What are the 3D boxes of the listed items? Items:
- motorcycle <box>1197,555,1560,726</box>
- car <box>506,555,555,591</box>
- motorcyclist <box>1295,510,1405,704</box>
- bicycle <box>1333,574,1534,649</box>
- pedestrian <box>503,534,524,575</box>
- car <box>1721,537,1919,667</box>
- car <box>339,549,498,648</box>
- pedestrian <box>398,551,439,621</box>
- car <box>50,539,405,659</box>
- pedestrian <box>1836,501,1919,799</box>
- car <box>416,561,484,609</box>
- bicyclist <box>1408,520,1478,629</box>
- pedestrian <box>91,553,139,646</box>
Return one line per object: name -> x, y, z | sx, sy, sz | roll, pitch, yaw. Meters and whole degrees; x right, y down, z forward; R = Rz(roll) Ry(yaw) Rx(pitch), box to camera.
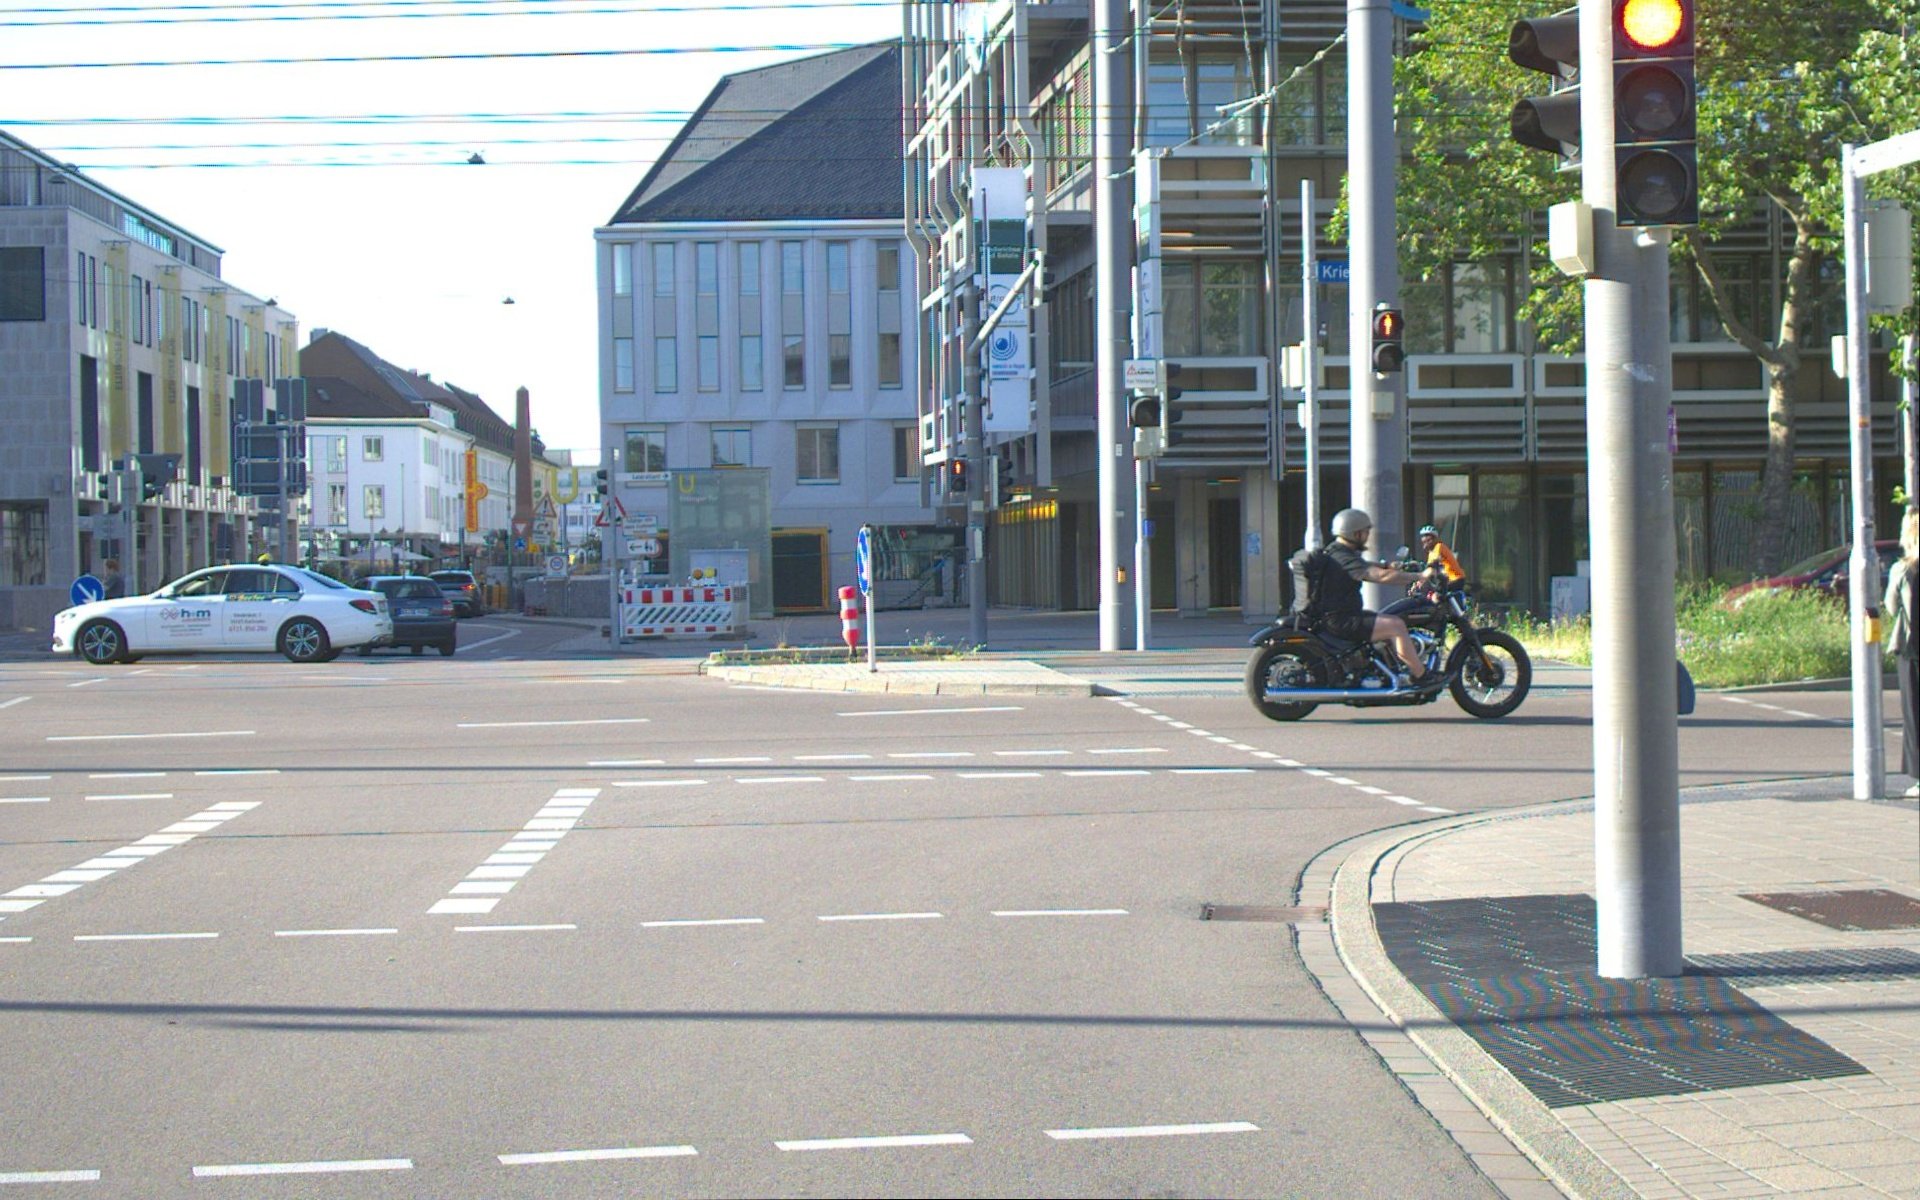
motorcycle -> 3.125, 0.289, 25.717 | 2.594, 1.204, 0.730 | -1, 2, -10
car -> -18.242, -1.145, 145.986 | 1.658, 1.453, 3.542 | -1, 1, -1
motorcyclist -> 2.909, 0.042, 25.678 | 0.656, 1.418, 0.648 | -1, 2, -10
bicycle -> 6.474, 0.153, 47.118 | 2.568, 0.972, 1.047 | -1, 1, -3
pedestrian -> -21.394, -2.163, 164.686 | 0.910, 1.958, 0.823 | 1, 0, -1
car -> 12.684, -0.002, 46.472 | 4.287, 1.678, 1.826 | -1, 1, -11
car -> -9.719, -0.056, 61.468 | 1.819, 1.678, 4.001 | -1, 1, -24
pedestrian -> -13.954, -0.362, 88.585 | 0.899, 1.776, 0.808 | -1, 1, -1
car -> -10.789, -0.030, 50.866 | 4.844, 1.678, 1.825 | -1, 1, -1
pedestrian -> 5.362, 0.260, 19.033 | 0.765, 1.608, 0.874 | -1, 1, -2
car -> -16.017, -0.484, 108.080 | 1.658, 1.453, 3.542 | -1, 1, -1
bicyclist -> 6.617, -0.355, 47.128 | 0.822, 1.469, 0.652 | -1, 1, -4
pedestrian -> -15.497, -0.008, 63.088 | 0.700, 1.682, 0.619 | -1, 1, 0
